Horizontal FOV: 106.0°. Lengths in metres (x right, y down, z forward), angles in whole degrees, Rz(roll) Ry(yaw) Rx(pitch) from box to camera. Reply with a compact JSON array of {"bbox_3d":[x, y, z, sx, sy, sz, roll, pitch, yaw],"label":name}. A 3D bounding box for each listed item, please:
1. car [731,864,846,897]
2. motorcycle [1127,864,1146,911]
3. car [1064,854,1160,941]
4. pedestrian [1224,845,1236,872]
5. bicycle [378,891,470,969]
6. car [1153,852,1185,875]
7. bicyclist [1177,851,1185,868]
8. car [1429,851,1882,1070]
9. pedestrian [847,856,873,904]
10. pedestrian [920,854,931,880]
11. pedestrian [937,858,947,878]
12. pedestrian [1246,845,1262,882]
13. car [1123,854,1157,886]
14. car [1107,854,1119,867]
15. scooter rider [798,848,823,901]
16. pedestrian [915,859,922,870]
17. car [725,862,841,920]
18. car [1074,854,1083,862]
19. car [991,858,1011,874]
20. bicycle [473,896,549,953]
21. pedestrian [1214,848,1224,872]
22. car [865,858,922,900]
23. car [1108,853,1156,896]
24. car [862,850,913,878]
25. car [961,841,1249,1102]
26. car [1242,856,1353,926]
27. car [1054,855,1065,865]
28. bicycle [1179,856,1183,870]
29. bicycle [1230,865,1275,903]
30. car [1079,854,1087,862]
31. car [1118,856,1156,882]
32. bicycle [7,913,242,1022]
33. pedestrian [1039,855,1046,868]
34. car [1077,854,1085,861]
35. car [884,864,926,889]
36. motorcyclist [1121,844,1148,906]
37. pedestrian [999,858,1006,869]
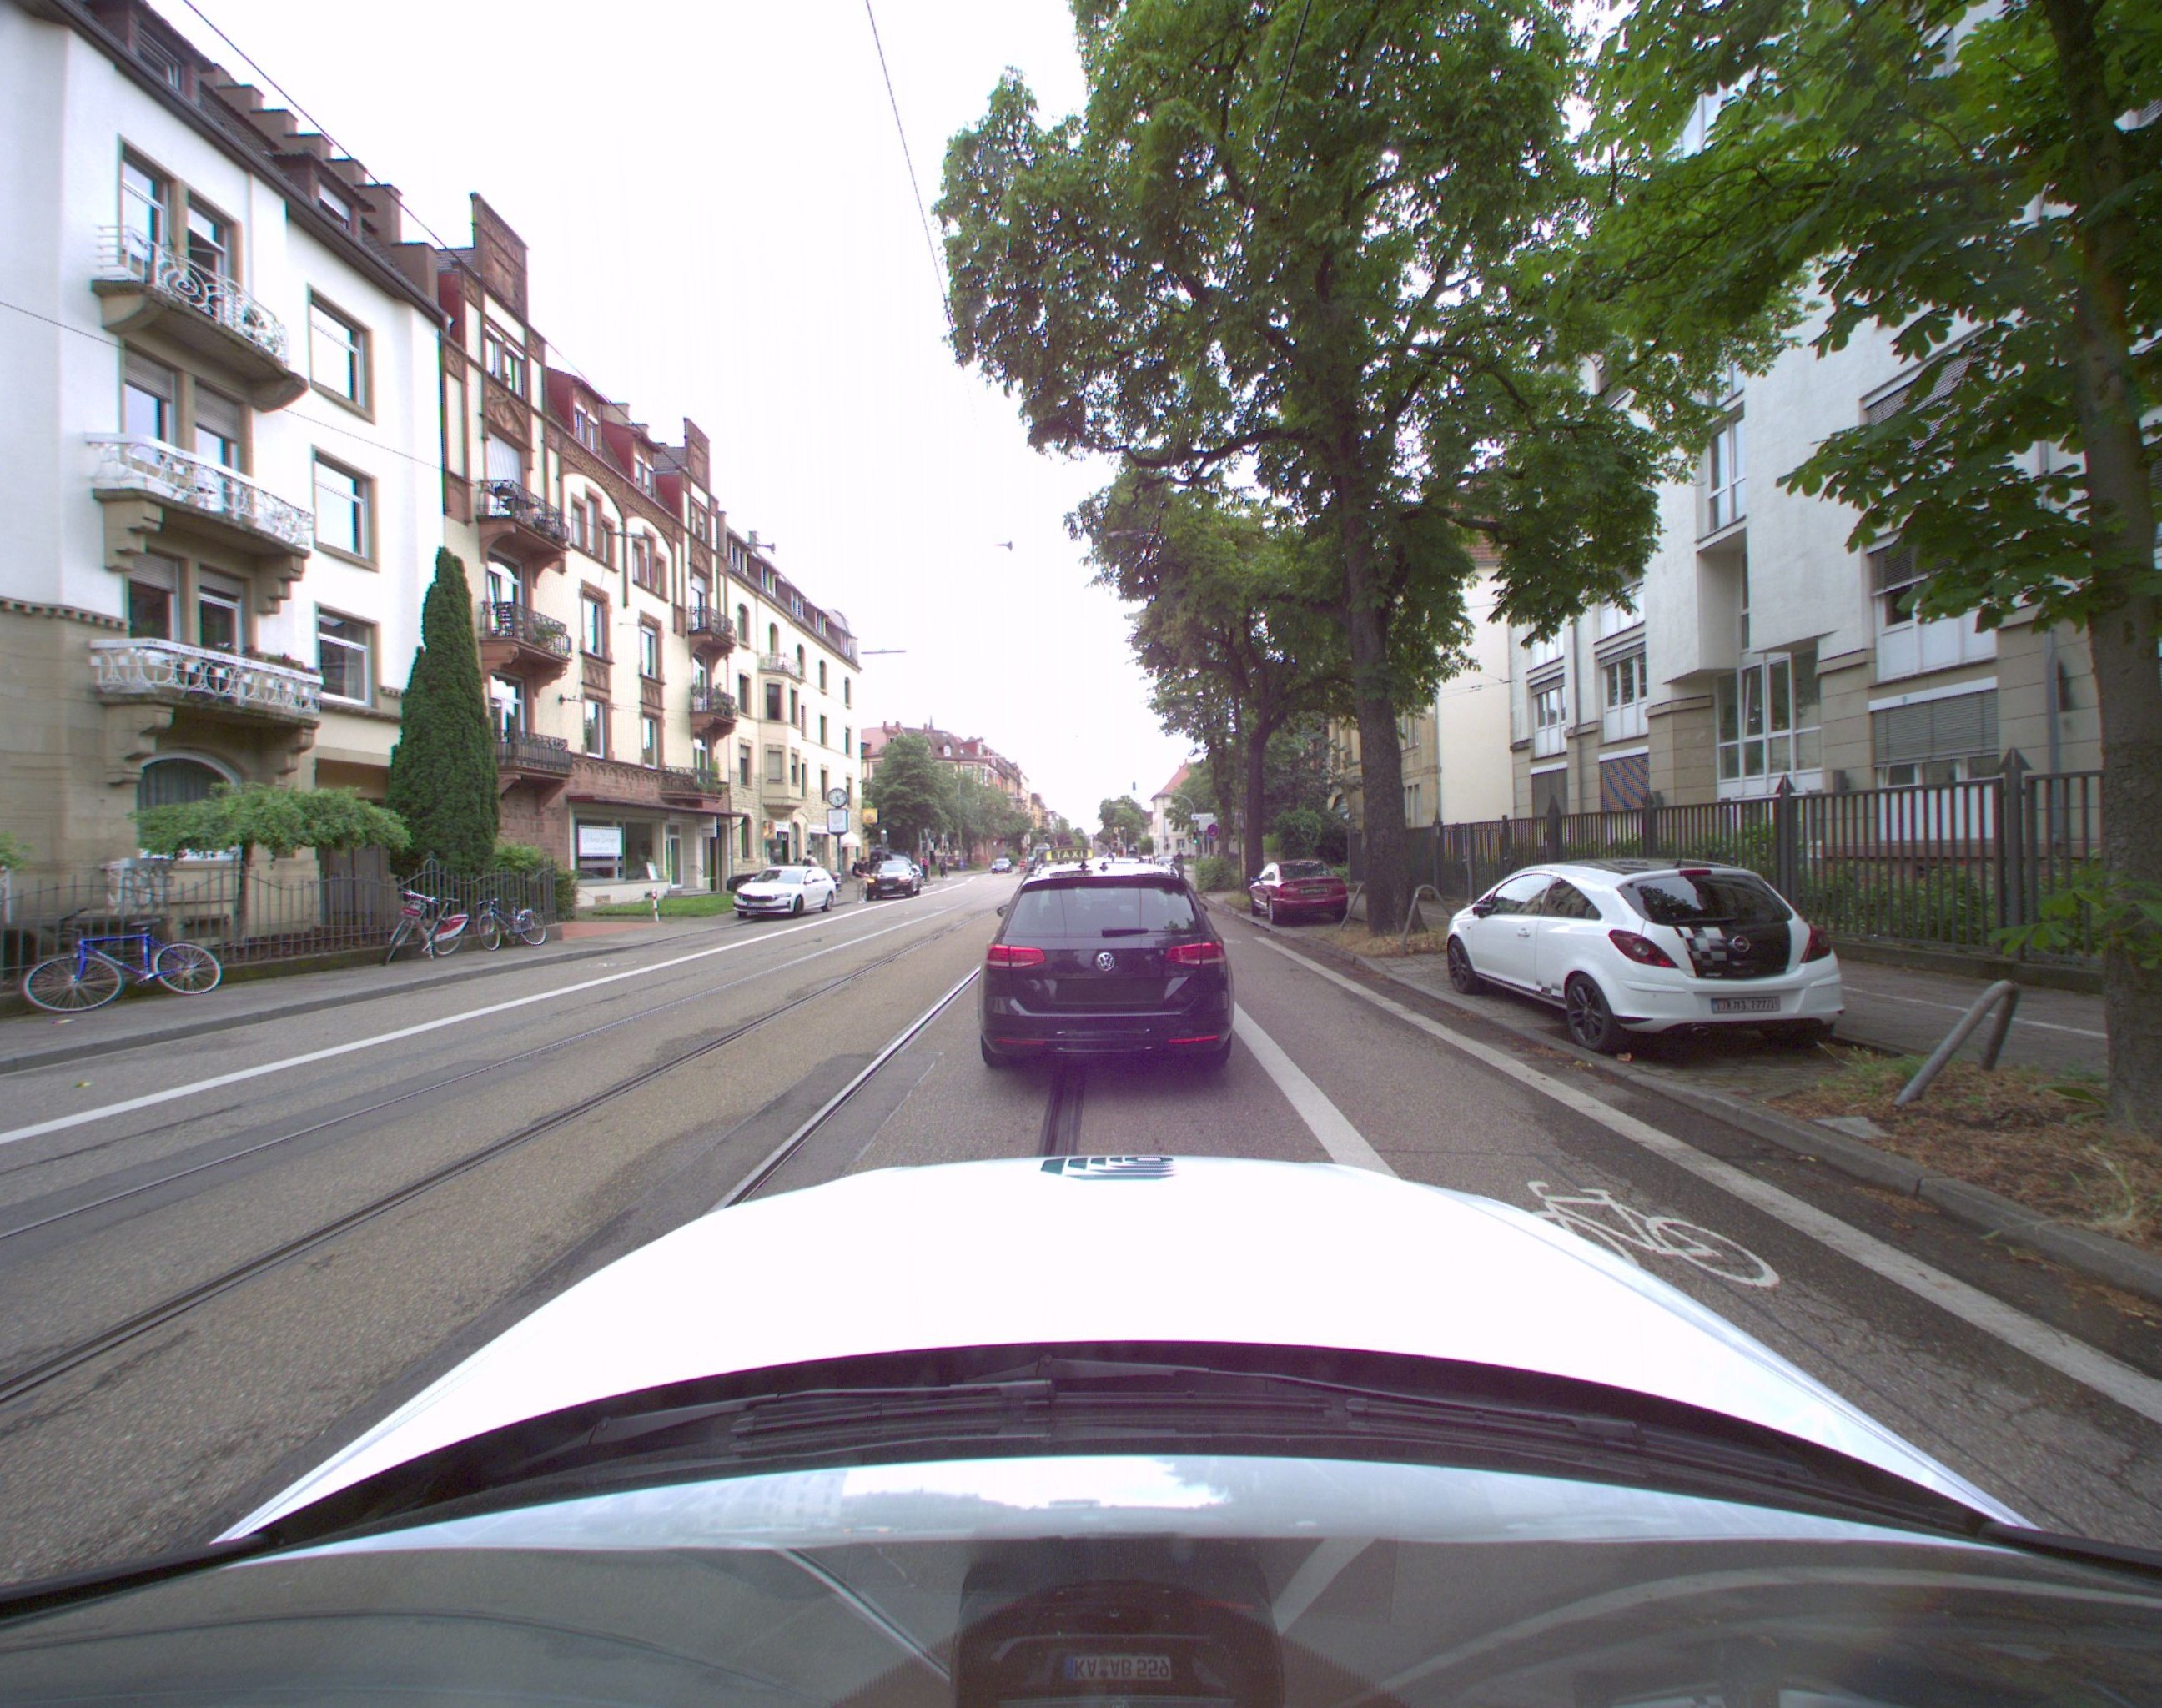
[{"bbox_3d":[-12.980,1.172,36.373,4.415,1.370,1.878,1,0,-3],"label":"car"},{"bbox_3d":[1.540,0.917,22.857,0.445,1.235,1.907,-2,0,2],"label":"motorcycle"},{"bbox_3d":[0.630,0.784,16.794,1.717,1.546,4.002,-1,0,2],"label":"car"},{"bbox_3d":[10.428,0.342,57.056,0.582,1.831,0.605,-5,-1,4],"label":"pedestrian"},{"bbox_3d":[-10.573,1.184,13.171,0.385,1.102,1.620,-2,0,-9],"label":"bicycle"},{"bbox_3d":[6.368,0.712,59.301,1.986,1.577,4.001,-1,-1,2],"label":"car"},{"bbox_3d":[9.173,0.517,74.346,0.647,1.568,0.697,-2,0,9],"label":"bicyclist"},{"bbox_3d":[4.794,0.739,7.550,1.596,1.435,3.779,-3,0,3],"label":"car"},{"bbox_3d":[-8.739,1.026,32.186,0.673,1.844,0.873,-2,0,-33],"label":"pedestrian"},{"bbox_3d":[-11.019,0.939,57.790,0.621,1.842,0.609,-2,0,-1],"label":"pedestrian"},{"bbox_3d":[-11.475,1.139,67.236,0.587,1.663,0.839,-2,0,1],"label":"pedestrian"},{"bbox_3d":[8.684,0.475,40.863,0.630,1.815,0.726,-2,0,-1],"label":"pedestrian"},{"bbox_3d":[3.002,0.825,41.844,1.600,1.556,3.579,-1,-1,2],"label":"car"},{"bbox_3d":[5.197,1.020,132.177,2.025,2.014,4.001,-1,-1,2],"label":"car"},{"bbox_3d":[-10.510,0.787,31.614,0.639,2.013,0.758,-2,0,2],"label":"scooter rider"},{"bbox_3d":[-21.585,1.397,108.419,0.582,1.521,0.653,-2,0,37],"label":"pedestrian"},{"bbox_3d":[-8.924,1.043,24.863,1.741,1.484,4.610,-2,0,1],"label":"car"},{"bbox_3d":[-0.477,0.844,172.819,1.715,1.622,3.864,-2,0,1],"label":"car"},{"bbox_3d":[-7.839,1.191,80.170,1.604,1.422,3.484,-3,0,-1],"label":"car"},{"bbox_3d":[-10.729,1.310,15.379,0.331,0.938,1.516,-2,0,1],"label":"bicycle"},{"bbox_3d":[10.524,0.464,61.989,0.510,1.831,0.420,-5,-1,18],"label":"pedestrian"},{"bbox_3d":[-8.301,1.074,36.485,1.881,1.611,4.875,-4,0,-7],"label":"car"},{"bbox_3d":[1.917,0.752,31.746,1.717,1.546,4.002,-1,0,2],"label":"car"},{"bbox_3d":[-17.308,0.900,72.695,2.197,2.417,5.316,-1,0,-41],"label":"car"},{"bbox_3d":[0.210,0.713,6.931,1.717,1.546,4.002,-1,0,2],"label":"car"},{"bbox_3d":[5.074,0.810,19.608,1.596,1.399,4.229,-3,0,2],"label":"car"},{"bbox_3d":[-3.848,1.115,146.953,1.715,1.622,3.864,-2,0,1],"label":"car"},{"bbox_3d":[9.135,0.841,74.215,0.295,1.223,1.434,-2,0,9],"label":"bicycle"},{"bbox_3d":[5.700,0.987,27.065,1.915,1.198,0.428,0,-2,-43],"label":"bicycle"},{"bbox_3d":[0.565,1.105,206.800,1.987,2.014,4.000,0,-1,1],"label":"car"},{"bbox_3d":[3.315,0.847,47.872,1.881,1.408,4.009,-2,0,8],"label":"car"},{"bbox_3d":[-10.848,1.241,9.334,0.356,0.928,1.663,-21,-1,4],"label":"bicycle"},{"bbox_3d":[-4.507,0.829,94.312,0.711,1.521,0.590,-2,0,3],"label":"pedestrian"},{"bbox_3d":[-0.048,0.847,186.906,1.715,1.622,3.864,-2,0,1],"label":"car"},{"bbox_3d":[-10.569,1.325,49.107,1.644,1.361,4.128,1,0,-1],"label":"car"},{"bbox_3d":[1.508,0.573,22.988,0.700,1.692,0.805,-2,0,1],"label":"motorcyclist"},{"bbox_3d":[-10.424,1.247,108.400,0.582,1.521,0.653,-2,0,37],"label":"pedestrian"}]
